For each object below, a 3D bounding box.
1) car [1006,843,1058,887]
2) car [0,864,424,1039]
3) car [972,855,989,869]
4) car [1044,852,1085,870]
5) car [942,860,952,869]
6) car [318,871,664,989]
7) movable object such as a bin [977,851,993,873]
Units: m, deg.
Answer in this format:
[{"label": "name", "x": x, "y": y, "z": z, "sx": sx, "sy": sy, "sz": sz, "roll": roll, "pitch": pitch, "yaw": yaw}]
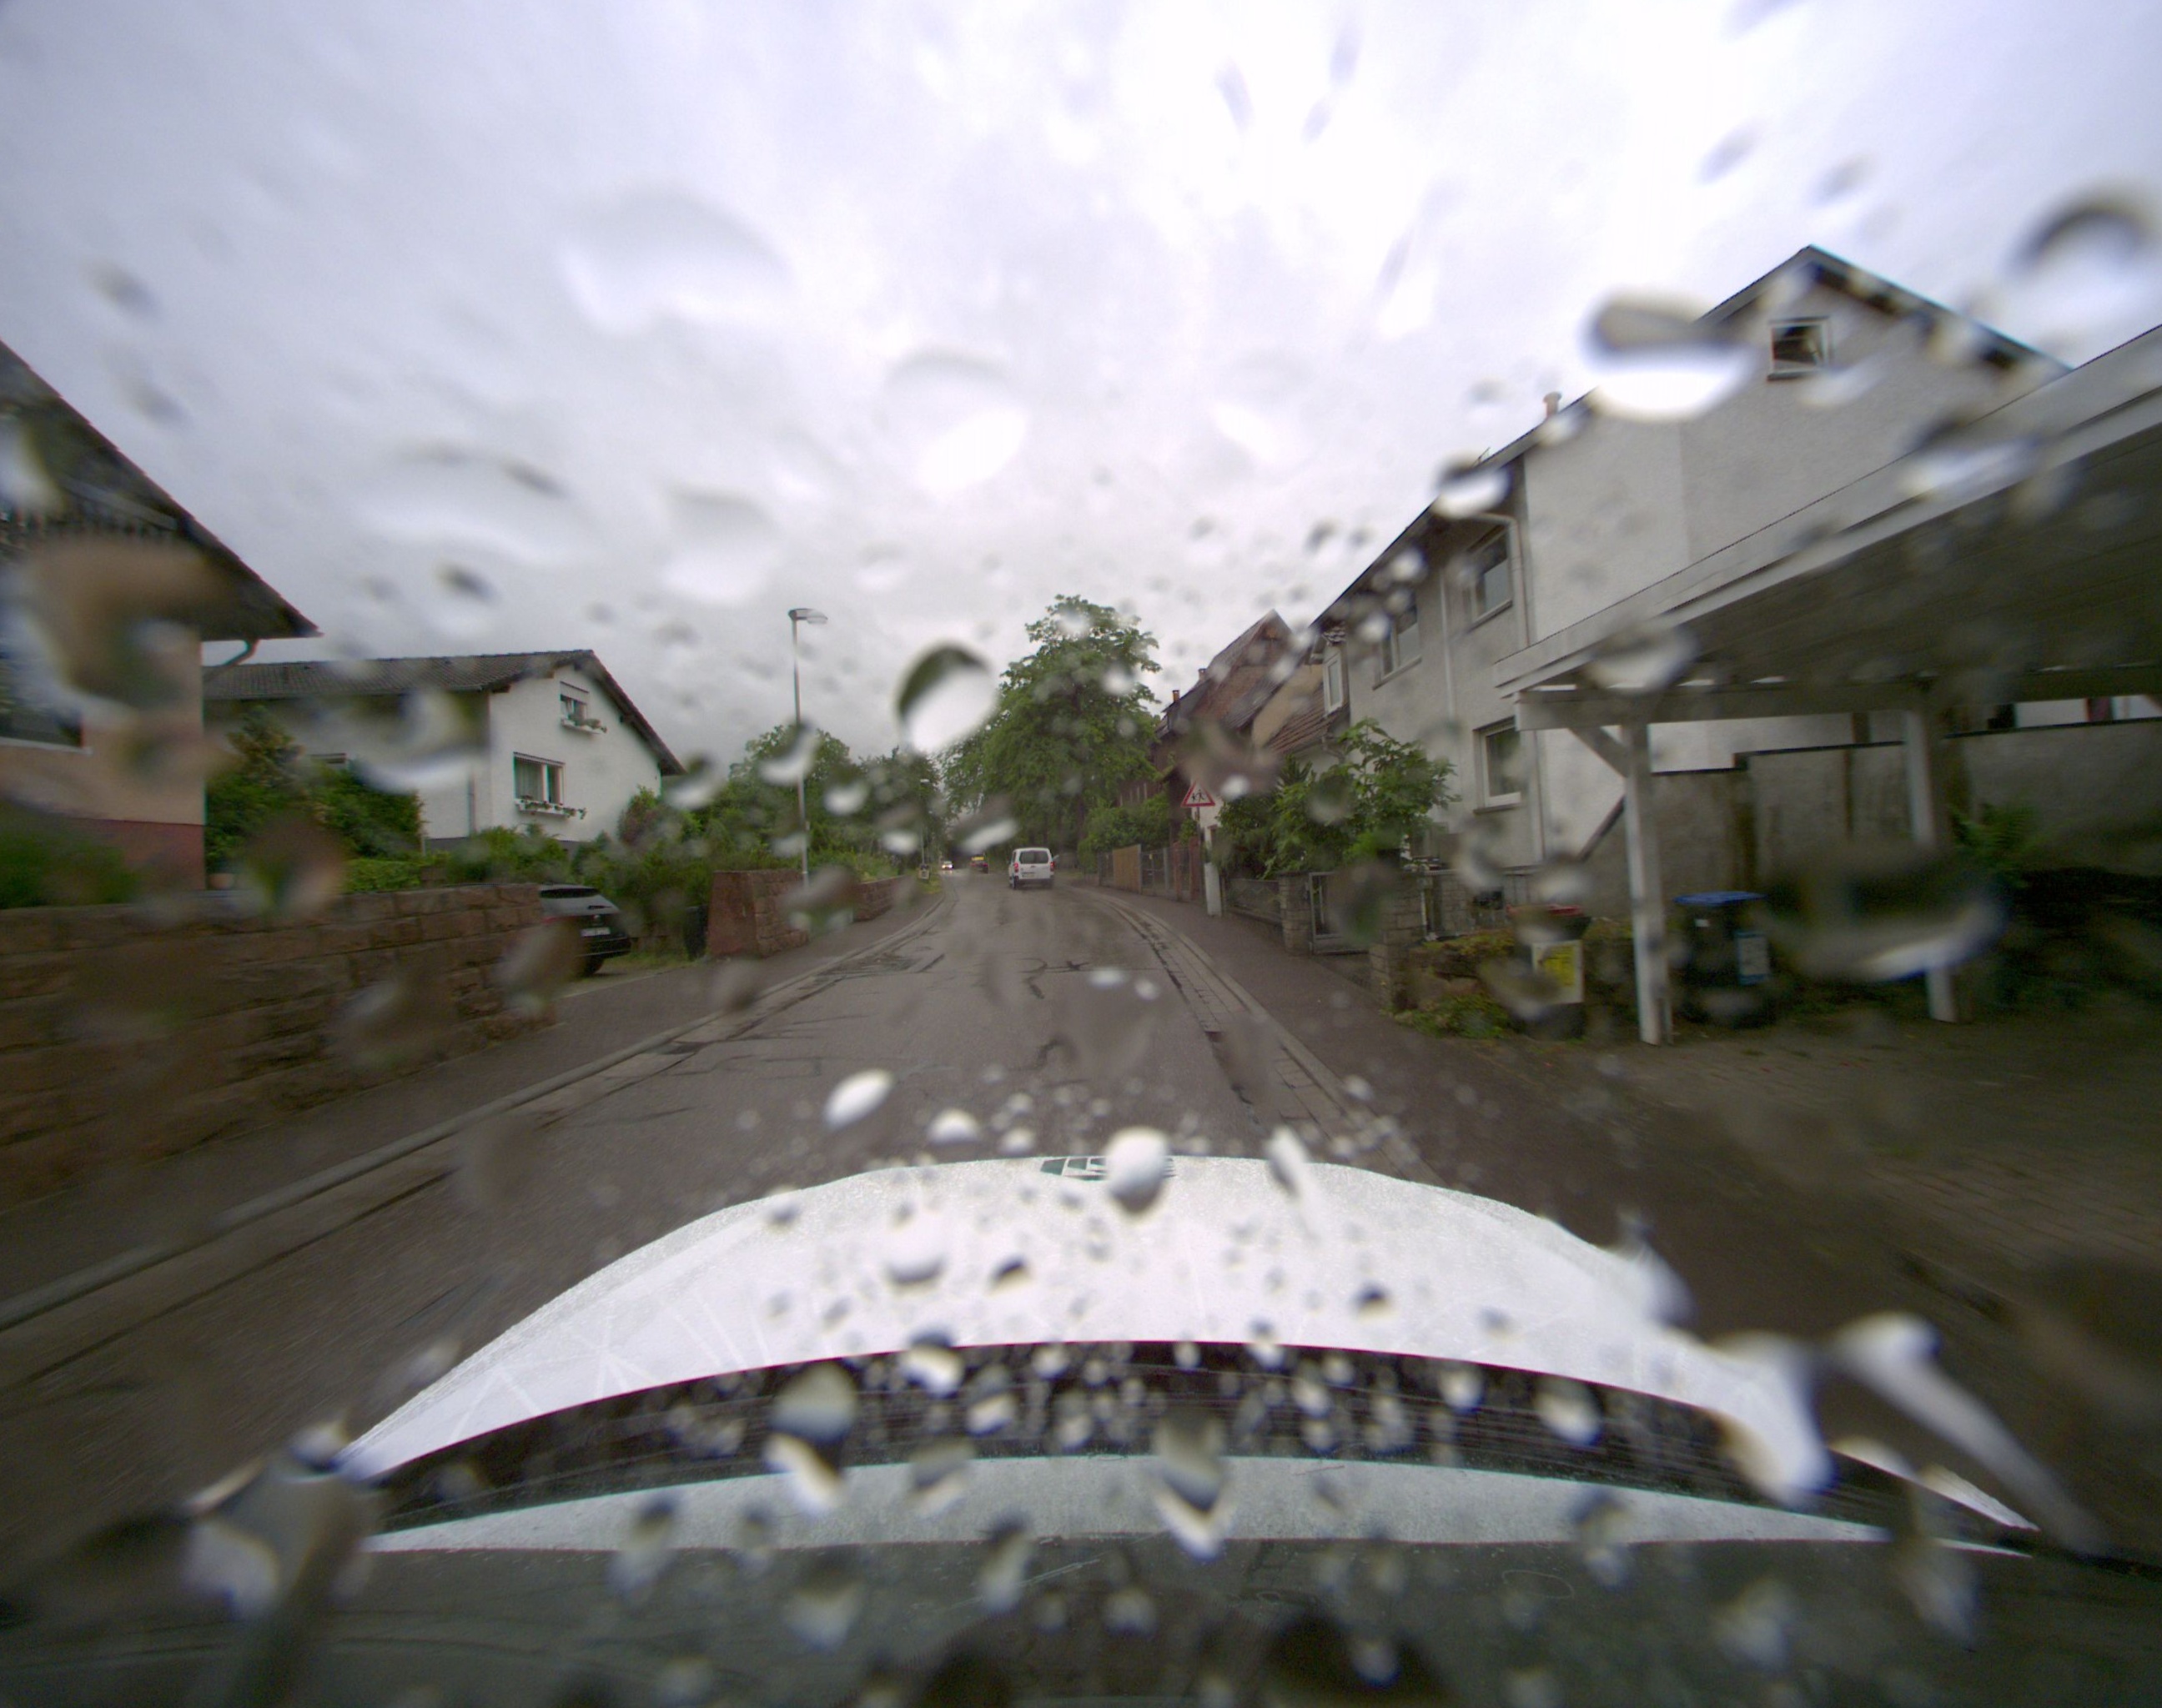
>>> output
[{"label": "car", "x": -2.271, "y": 0.486, "z": 36.894, "sx": 1.896, "sy": 1.807, "sz": 3.987, "roll": -3, "pitch": 0, "yaw": -9}, {"label": "car", "x": -9.334, "y": 0.907, "z": 8.137, "sx": 4.010, "sy": 1.451, "sz": 1.797, "roll": -1, "pitch": -2, "yaw": -29}, {"label": "car", "x": -10.355, "y": 0.868, "z": 84.280, "sx": 1.707, "sy": 1.377, "sz": 3.990, "roll": -1, "pitch": -1, "yaw": -7}, {"label": "car", "x": -1.477, "y": 0.643, "z": 75.244, "sx": 1.601, "sy": 1.551, "sz": 3.635, "roll": -4, "pitch": -1, "yaw": 44}, {"label": "car", "x": -26.943, "y": 2.159, "z": 164.071, "sx": 1.824, "sy": 1.832, "sz": 4.290, "roll": -1, "pitch": -1, "yaw": -11}, {"label": "car", "x": -8.826, "y": 1.109, "z": 12.368, "sx": 3.962, "sy": 1.493, "sz": 2.006, "roll": -3, "pitch": -1, "yaw": 10}, {"label": "movable object such as a bin", "x": -11.343, "y": 0.982, "z": 95.962, "sx": 1.760, "sy": 2.548, "sz": 4.228, "roll": -1, "pitch": -1, "yaw": -7}]
